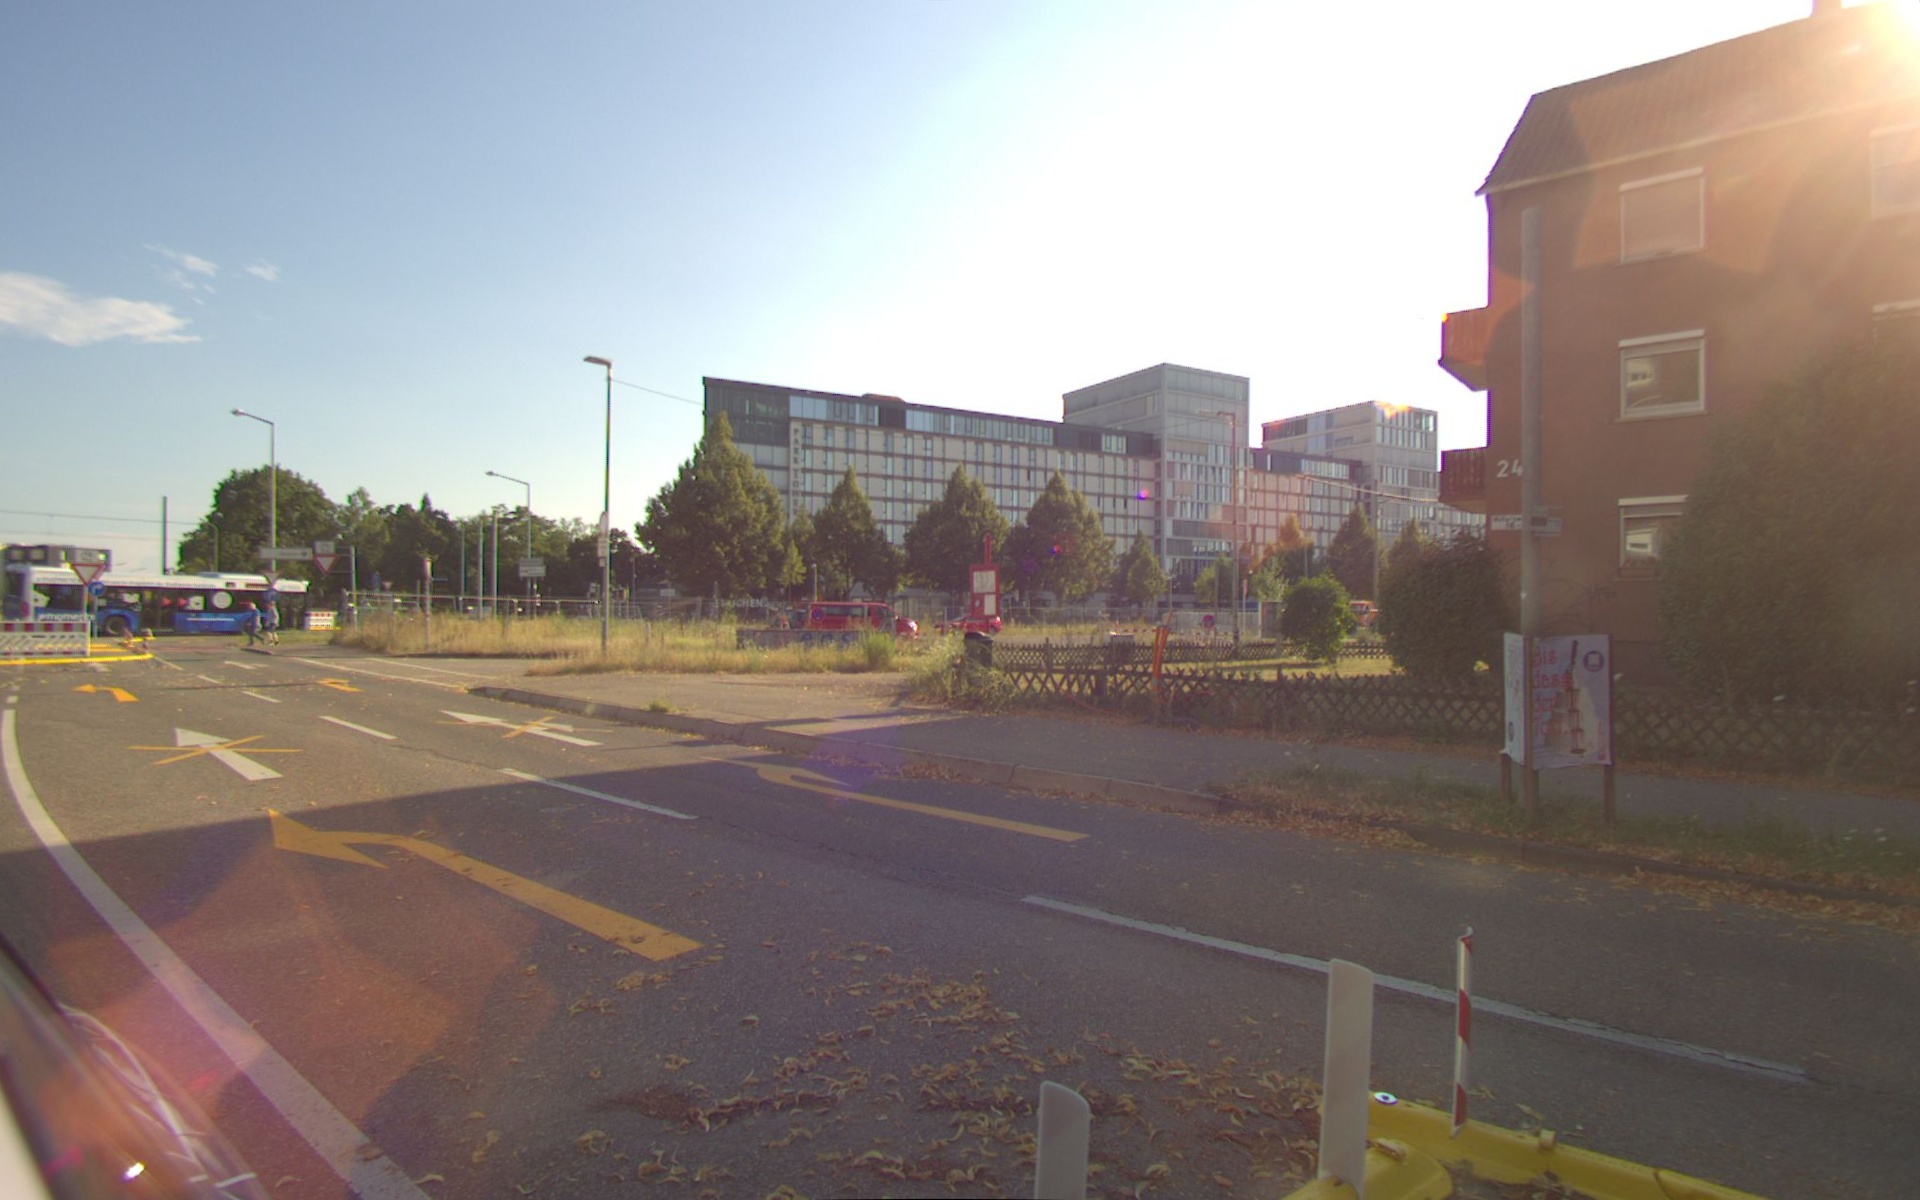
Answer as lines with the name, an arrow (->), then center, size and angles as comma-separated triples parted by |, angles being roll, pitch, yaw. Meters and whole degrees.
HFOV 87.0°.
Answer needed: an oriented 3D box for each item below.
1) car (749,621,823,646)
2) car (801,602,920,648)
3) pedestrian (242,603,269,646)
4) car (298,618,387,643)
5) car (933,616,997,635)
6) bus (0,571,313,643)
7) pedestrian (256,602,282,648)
car -> -9.849, 1.867, 57.082 | 4.245, 1.373, 1.972 | -1, -2, 43
car -> -4.597, 1.168, 46.557 | 5.225, 2.029, 2.005 | 1, -1, -12
pedestrian -> -28.157, 0.972, 40.460 | 0.798, 1.722, 0.788 | 1, -2, -30
car -> -37.610, 1.837, 61.769 | 1.803, 1.447, 4.345 | 0, -1, 28
car -> 0.330, 1.628, 64.069 | 3.867, 1.175, 1.336 | 1, -1, -26
bus -> -38.257, 0.402, 48.806 | 2.655, 3.085, 12.057 | 0, -1, 29
pedestrian -> -27.304, 0.998, 39.999 | 0.758, 1.789, 0.762 | 1, -2, -28
